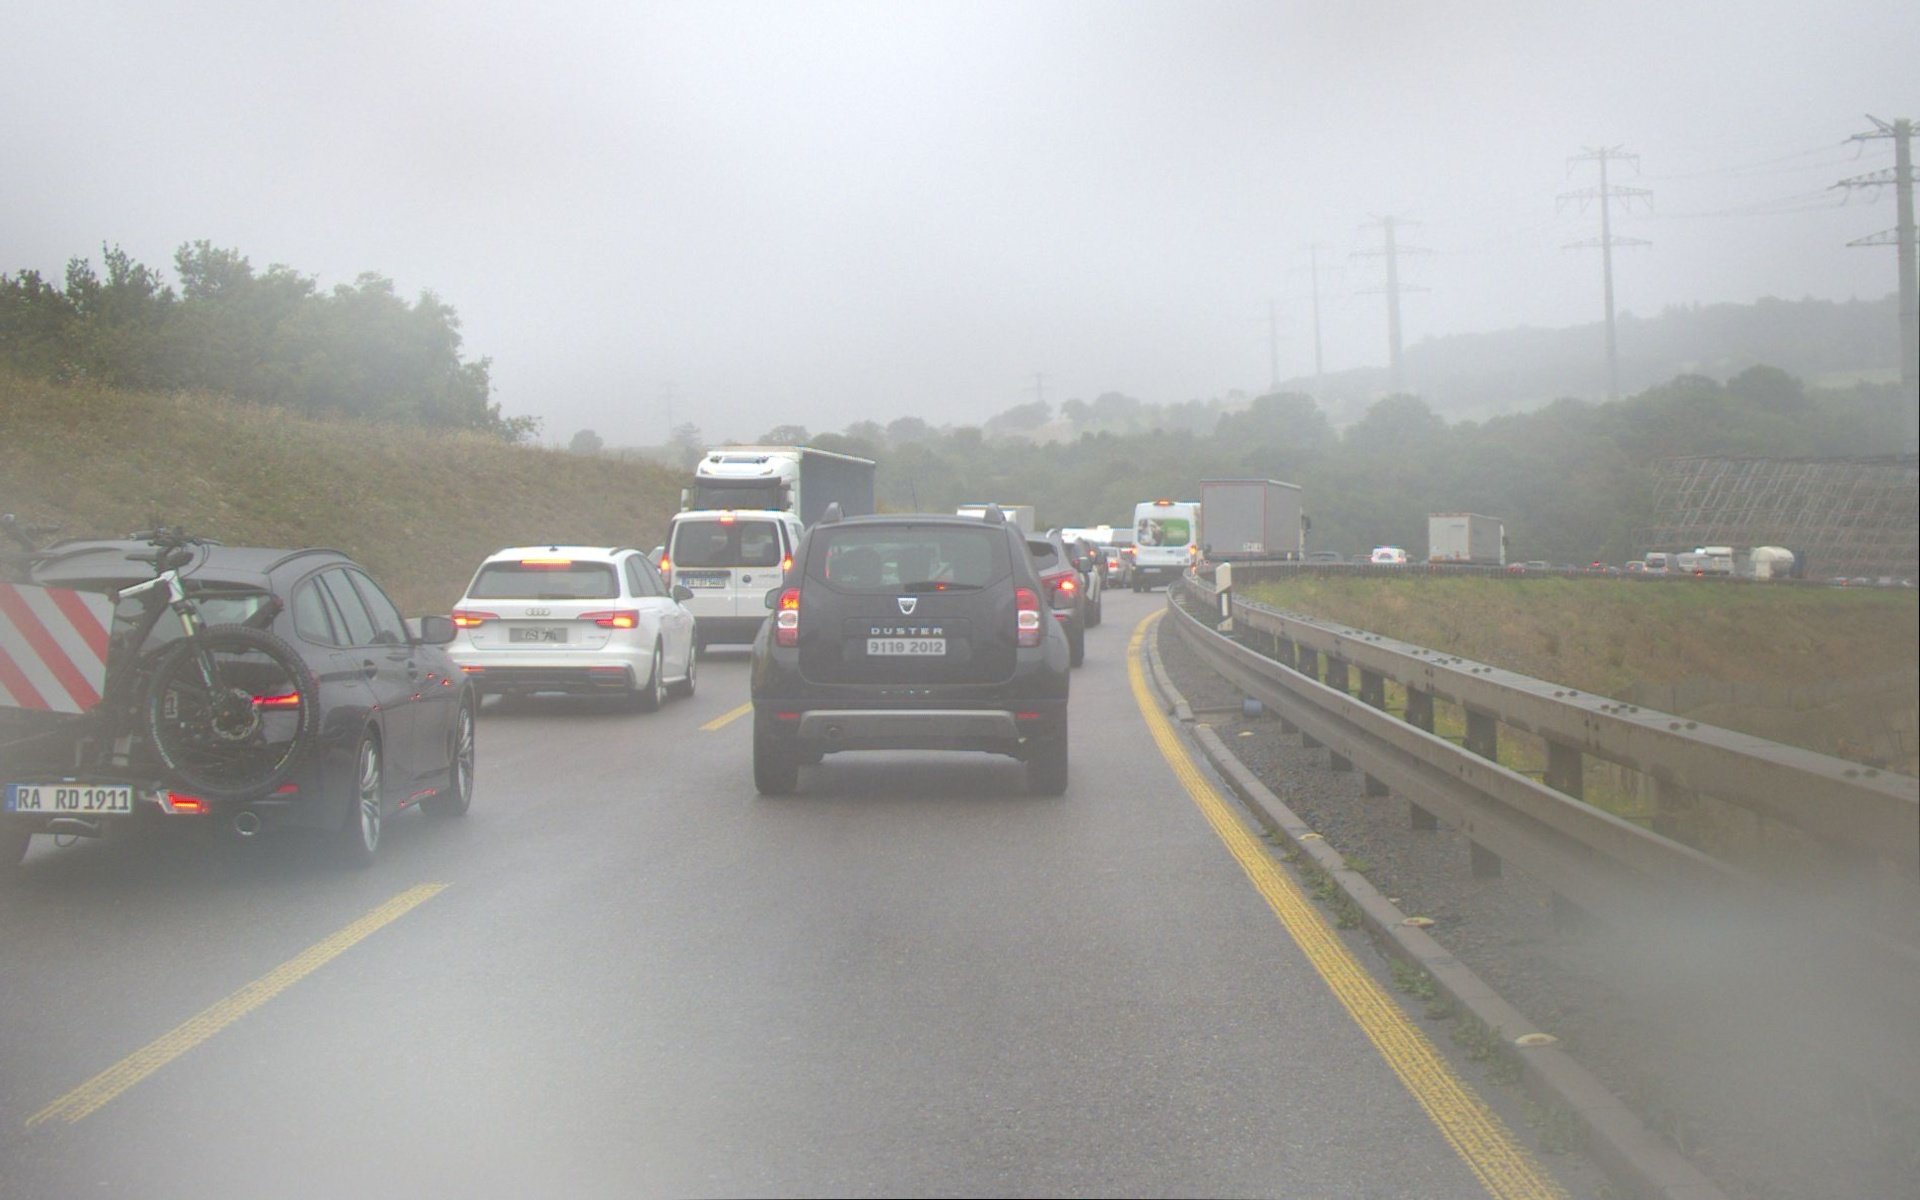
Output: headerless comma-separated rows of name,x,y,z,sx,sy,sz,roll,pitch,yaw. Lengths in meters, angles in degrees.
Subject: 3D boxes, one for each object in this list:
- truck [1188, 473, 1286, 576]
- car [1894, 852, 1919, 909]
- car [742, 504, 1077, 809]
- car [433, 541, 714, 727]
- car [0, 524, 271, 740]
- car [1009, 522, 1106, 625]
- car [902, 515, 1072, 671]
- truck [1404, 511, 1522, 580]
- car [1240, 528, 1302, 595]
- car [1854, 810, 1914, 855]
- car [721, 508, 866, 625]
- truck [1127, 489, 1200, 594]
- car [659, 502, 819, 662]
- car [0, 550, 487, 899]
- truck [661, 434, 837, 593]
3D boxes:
truck,10.702,-2.893,132.107,3.201,3.748,8.507,1,1,8
car,41.520,11.961,146.599,2.365,2.007,4.000,1,1,2
car,-0.215,0.271,20.455,1.804,1.640,3.776,0,1,2
car,-3.297,0.237,30.134,1.867,1.455,4.549,1,1,1
car,-6.378,0.169,24.972,1.867,1.401,4.115,1,1,0
car,1.622,-0.472,57.859,1.530,1.635,4.013,1,1,1
car,0.328,-0.123,40.215,1.867,1.702,4.000,1,1,1
truck,31.886,-3.429,217.134,4.721,4.135,15.669,2,1,18
car,9.306,-1.172,102.839,1.775,1.909,3.999,1,1,5
car,44.088,11.087,164.060,1.994,1.809,4.000,0,1,4
car,-2.520,-0.537,52.862,1.868,1.702,4.092,1,1,2
truck,6.387,-1.854,108.022,2.149,3.155,6.459,1,1,3
car,-2.719,-0.255,43.037,1.660,1.873,4.020,1,1,1
car,-3.481,0.503,16.507,1.829,1.471,3.776,0,1,1
truck,-5.780,-2.400,97.060,2.933,4.083,14.389,1,1,4
